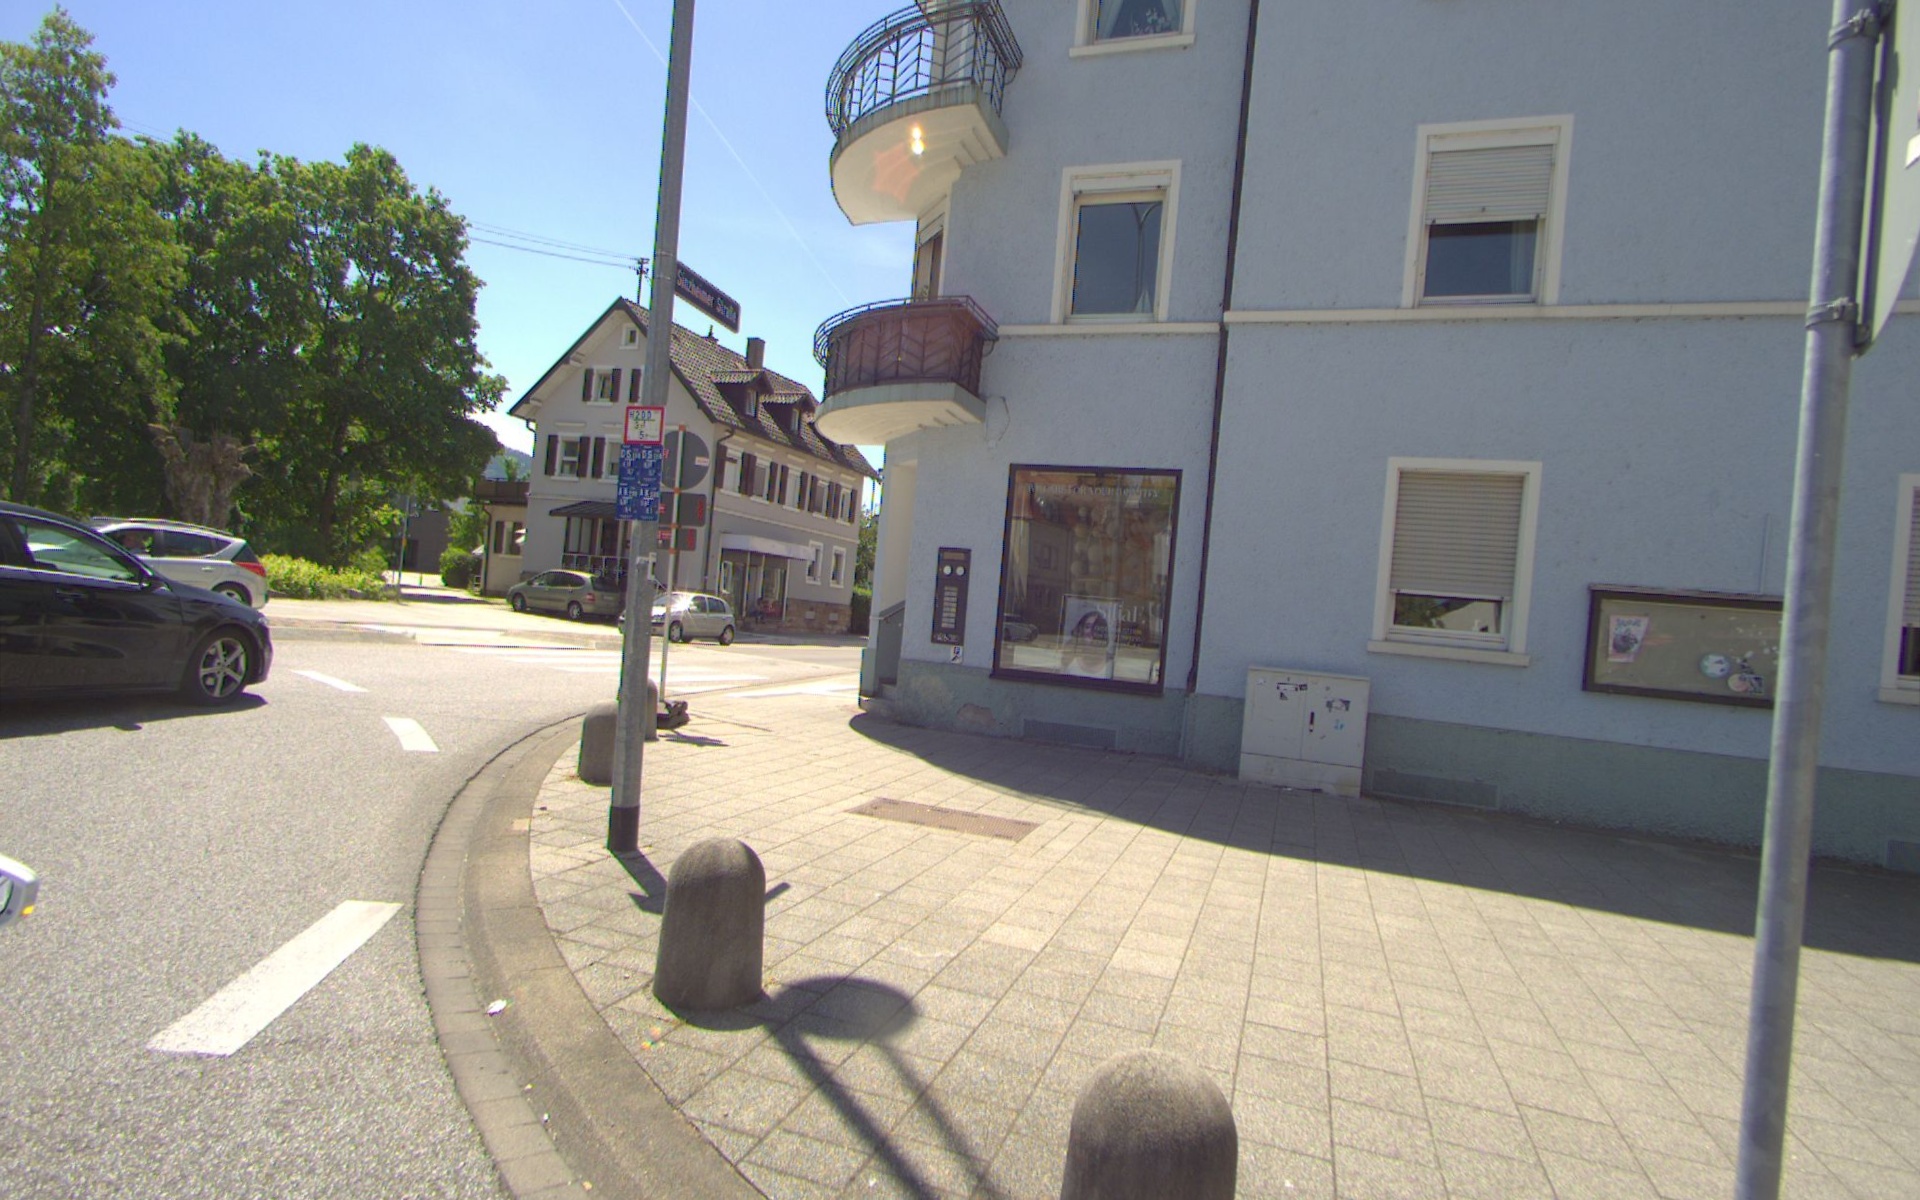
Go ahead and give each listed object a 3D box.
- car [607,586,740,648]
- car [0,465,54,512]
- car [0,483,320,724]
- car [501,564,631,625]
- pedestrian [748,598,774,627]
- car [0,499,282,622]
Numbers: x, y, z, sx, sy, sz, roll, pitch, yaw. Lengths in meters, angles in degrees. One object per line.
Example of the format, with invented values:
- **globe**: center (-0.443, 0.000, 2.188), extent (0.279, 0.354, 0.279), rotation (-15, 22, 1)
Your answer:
- **car**: center (-7.823, 0.510, 27.840), extent (1.521, 1.430, 3.718), rotation (6, -1, 21)
- **car**: center (-48.186, -5.715, 50.392), extent (3.975, 2.039, 1.975), rotation (6, 0, -45)
- **car**: center (-6.689, -0.066, 6.697), extent (1.735, 1.475, 4.440), rotation (7, -1, 2)
- **car**: center (-13.552, -0.187, 34.590), extent (3.927, 1.660, 1.757), rotation (6, 0, 22)
- **pedestrian**: center (-7.881, 0.498, 39.833), extent (0.659, 1.067, 0.700), rotation (6, 0, 18)
- **car**: center (-13.071, -0.571, 15.382), extent (1.713, 1.535, 4.208), rotation (6, -1, 20)
